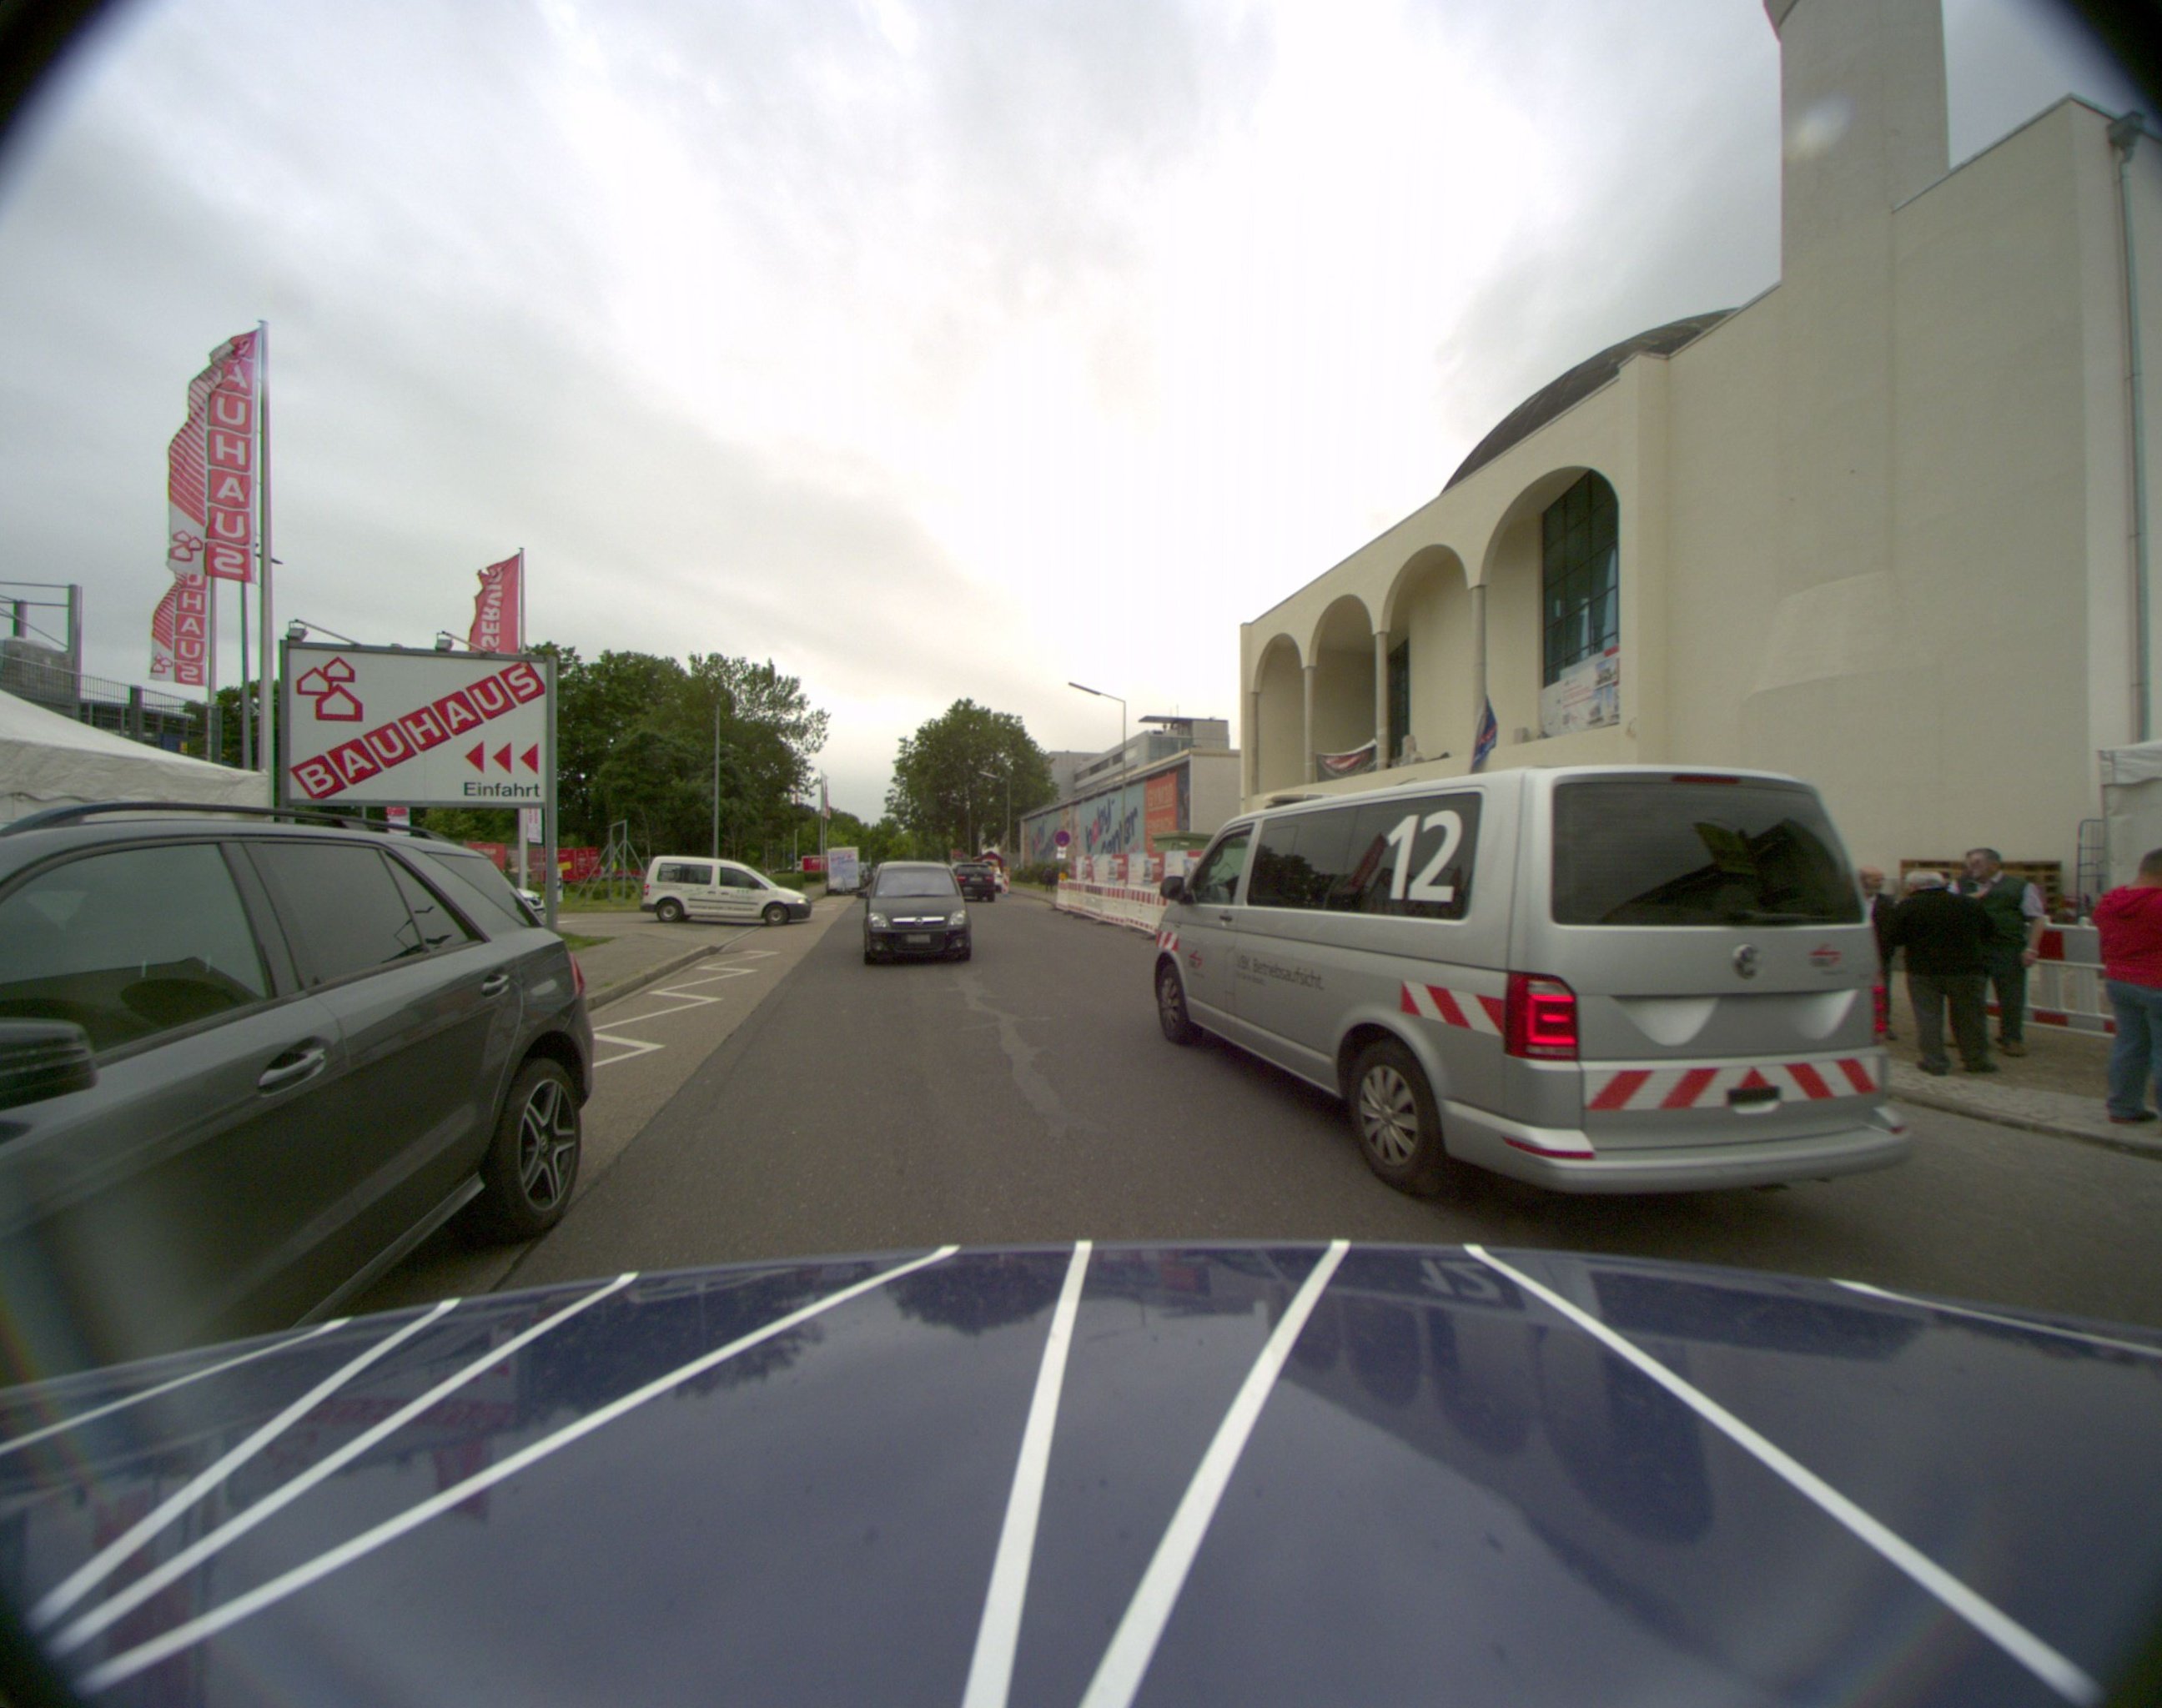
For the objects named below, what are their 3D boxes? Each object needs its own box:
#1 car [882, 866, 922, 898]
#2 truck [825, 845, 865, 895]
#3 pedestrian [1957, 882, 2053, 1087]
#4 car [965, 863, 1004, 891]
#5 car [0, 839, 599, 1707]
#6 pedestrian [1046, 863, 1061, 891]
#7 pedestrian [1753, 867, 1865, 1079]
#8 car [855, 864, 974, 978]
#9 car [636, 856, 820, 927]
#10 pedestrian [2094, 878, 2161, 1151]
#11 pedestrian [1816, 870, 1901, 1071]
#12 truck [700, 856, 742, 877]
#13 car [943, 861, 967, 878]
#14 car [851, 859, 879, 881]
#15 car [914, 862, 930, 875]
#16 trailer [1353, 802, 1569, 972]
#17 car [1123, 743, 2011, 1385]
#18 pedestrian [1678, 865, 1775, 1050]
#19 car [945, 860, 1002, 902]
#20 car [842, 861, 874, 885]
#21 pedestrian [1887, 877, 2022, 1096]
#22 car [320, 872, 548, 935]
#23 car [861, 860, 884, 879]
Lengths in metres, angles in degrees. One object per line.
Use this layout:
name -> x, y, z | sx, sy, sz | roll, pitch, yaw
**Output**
car -> -8.689, 1.322, 36.829 | 1.752, 1.351, 4.132 | -2, 1, -14
truck -> -13.217, 0.862, 42.735 | 1.855, 2.597, 3.995 | -3, 1, -14
pedestrian -> 7.749, 1.050, 6.391 | 0.542, 1.602, 0.489 | -2, 1, -42
car -> -6.005, 1.413, 46.966 | 1.931, 1.564, 4.144 | 3, -1, -13
car -> -2.898, 0.888, 1.434 | 1.915, 1.731, 4.475 | -3, 0, -13
pedestrian -> -1.602, 1.308, 43.954 | 0.794, 1.570, 0.601 | -2, 1, -7
pedestrian -> 6.406, 0.991, 6.697 | 0.492, 1.739, 0.689 | 0, 0, -45
car -> -2.808, 0.986, 12.930 | 1.687, 1.622, 3.755 | 0, 0, -12
car -> -9.752, 1.035, 21.353 | 4.386, 1.796, 1.798 | 2, -1, -15
pedestrian -> 6.607, 0.953, 4.576 | 0.492, 1.602, 0.539 | 2, 0, -42
pedestrian -> 7.137, 1.026, 6.984 | 0.492, 1.739, 0.527 | 0, 0, -45
truck -> -42.207, 1.474, 89.132 | 1.995, 2.382, 4.007 | 0, 0, 26
car -> -12.231, 1.474, 73.473 | 1.931, 1.564, 4.144 | 3, -1, -13
car -> -18.369, 1.332, 64.686 | 2.001, 1.805, 3.996 | 0, 0, -12
car -> -19.581, 1.815, 93.472 | 1.931, 1.564, 3.995 | 1, -1, -13
trailer -> 6.469, 0.523, 13.317 | 1.804, 2.591, 3.188 | 0, 0, -11
car -> 1.912, 0.652, 4.993 | 1.934, 2.002, 4.949 | 0, 0, -13
pedestrian -> 6.447, 0.982, 7.591 | 0.492, 1.739, 0.689 | 0, 0, -45
car -> -4.848, 1.152, 33.696 | 1.967, 1.652, 4.648 | 2, -1, -14
car -> -16.797, 1.432, 57.337 | 2.001, 1.739, 3.996 | 0, 0, -12
pedestrian -> 6.835, 0.987, 5.971 | 0.570, 1.602, 0.492 | 0, 0, 31
car -> -16.506, 1.229, 19.620 | 4.117, 1.412, 1.729 | -1, 0, -13
car -> -19.758, 1.447, 71.989 | 2.001, 1.739, 3.995 | 0, 0, -14
